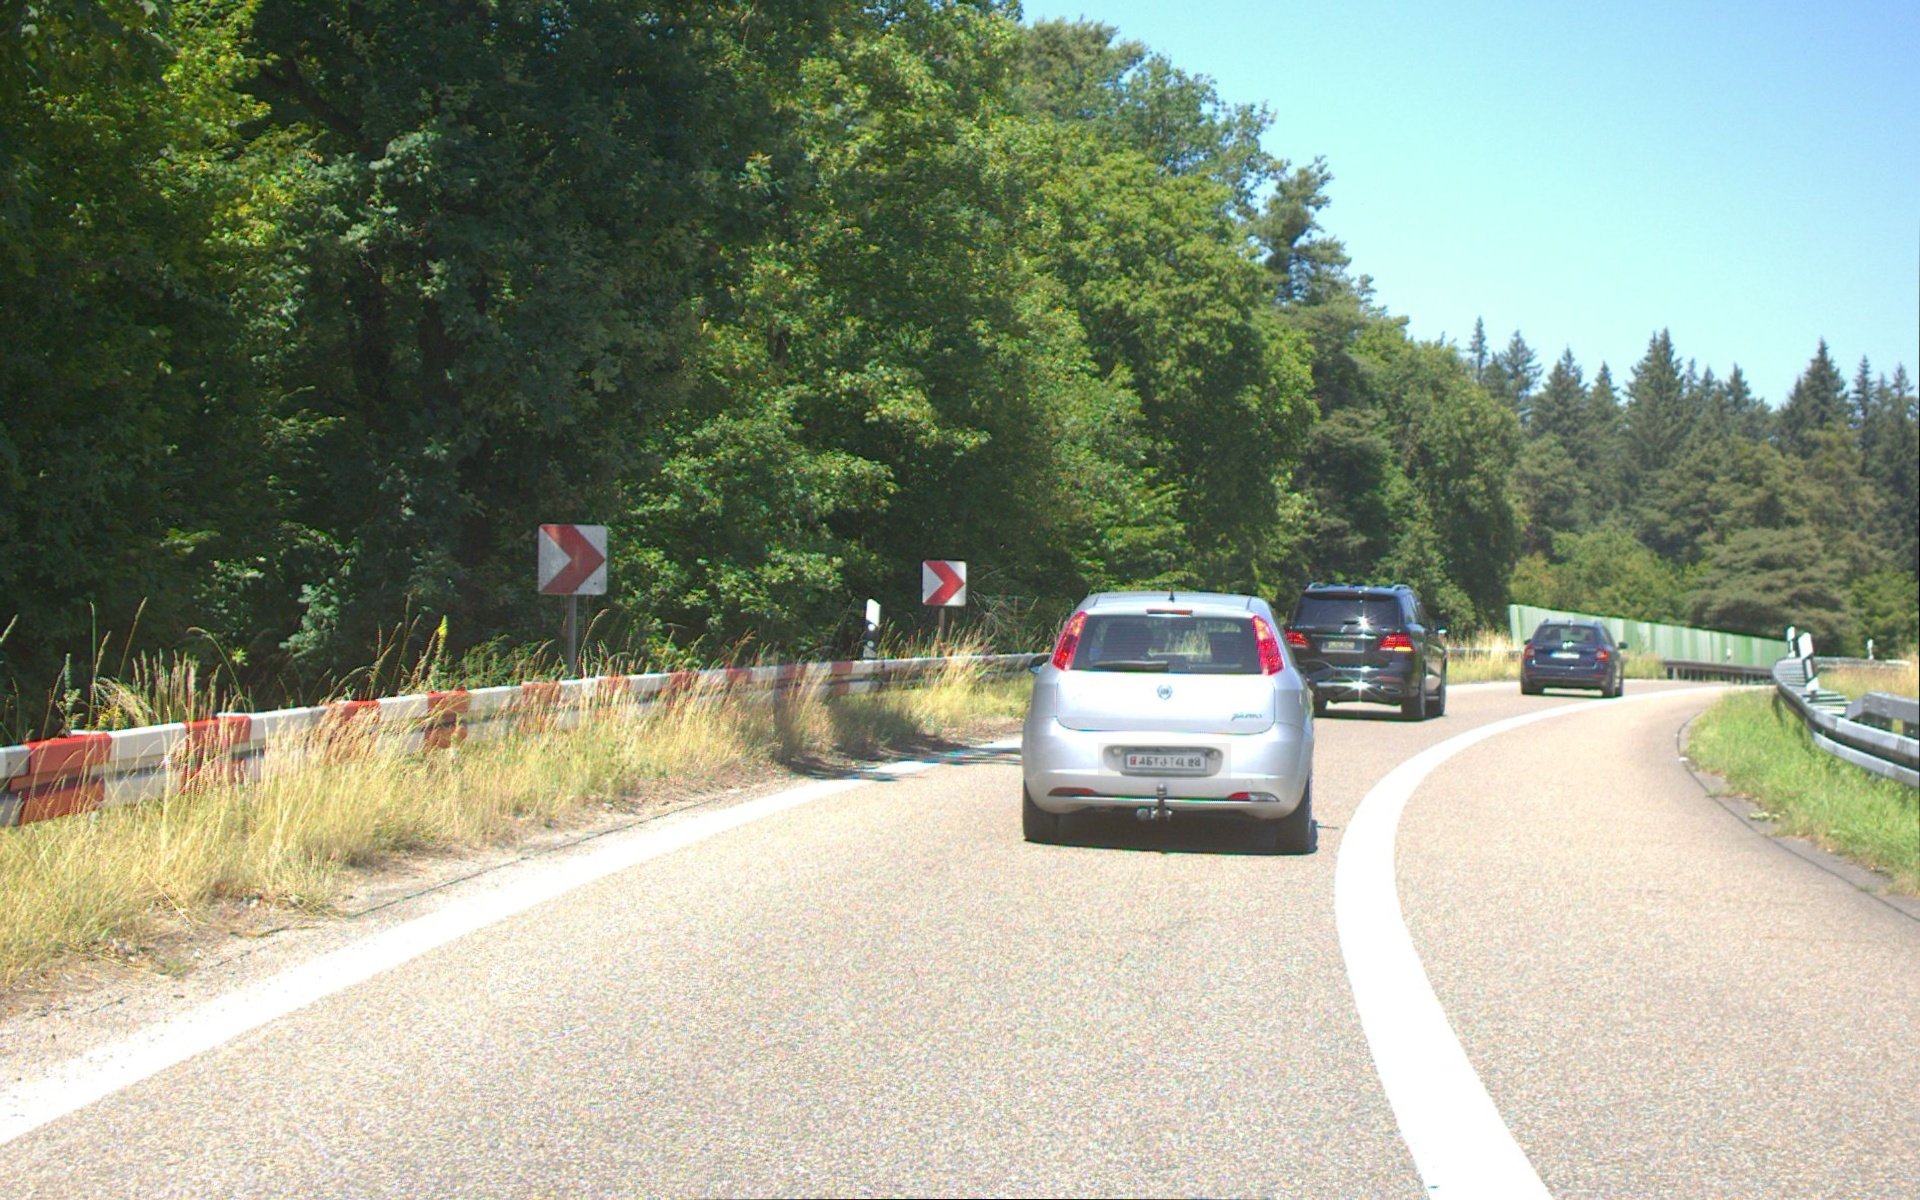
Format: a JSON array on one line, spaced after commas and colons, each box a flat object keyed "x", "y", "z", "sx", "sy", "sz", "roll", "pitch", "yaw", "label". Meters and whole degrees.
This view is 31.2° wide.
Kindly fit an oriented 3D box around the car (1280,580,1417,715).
[{"x": 5.197, "y": 0.616, "z": 45.657, "sx": 1.641, "sy": 1.648, "sz": 3.573, "roll": 2, "pitch": 0, "yaw": 8, "label": "car"}]

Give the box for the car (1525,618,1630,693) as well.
[{"x": 11.849, "y": 1.050, "z": 65.840, "sx": 1.641, "sy": 1.338, "sz": 3.571, "roll": 2, "pitch": 0, "yaw": 15, "label": "car"}]

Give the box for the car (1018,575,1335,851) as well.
[{"x": 1.384, "y": 0.633, "z": 20.832, "sx": 1.641, "sy": 1.463, "sz": 3.418, "roll": 2, "pitch": 0, "yaw": 7, "label": "car"}]
